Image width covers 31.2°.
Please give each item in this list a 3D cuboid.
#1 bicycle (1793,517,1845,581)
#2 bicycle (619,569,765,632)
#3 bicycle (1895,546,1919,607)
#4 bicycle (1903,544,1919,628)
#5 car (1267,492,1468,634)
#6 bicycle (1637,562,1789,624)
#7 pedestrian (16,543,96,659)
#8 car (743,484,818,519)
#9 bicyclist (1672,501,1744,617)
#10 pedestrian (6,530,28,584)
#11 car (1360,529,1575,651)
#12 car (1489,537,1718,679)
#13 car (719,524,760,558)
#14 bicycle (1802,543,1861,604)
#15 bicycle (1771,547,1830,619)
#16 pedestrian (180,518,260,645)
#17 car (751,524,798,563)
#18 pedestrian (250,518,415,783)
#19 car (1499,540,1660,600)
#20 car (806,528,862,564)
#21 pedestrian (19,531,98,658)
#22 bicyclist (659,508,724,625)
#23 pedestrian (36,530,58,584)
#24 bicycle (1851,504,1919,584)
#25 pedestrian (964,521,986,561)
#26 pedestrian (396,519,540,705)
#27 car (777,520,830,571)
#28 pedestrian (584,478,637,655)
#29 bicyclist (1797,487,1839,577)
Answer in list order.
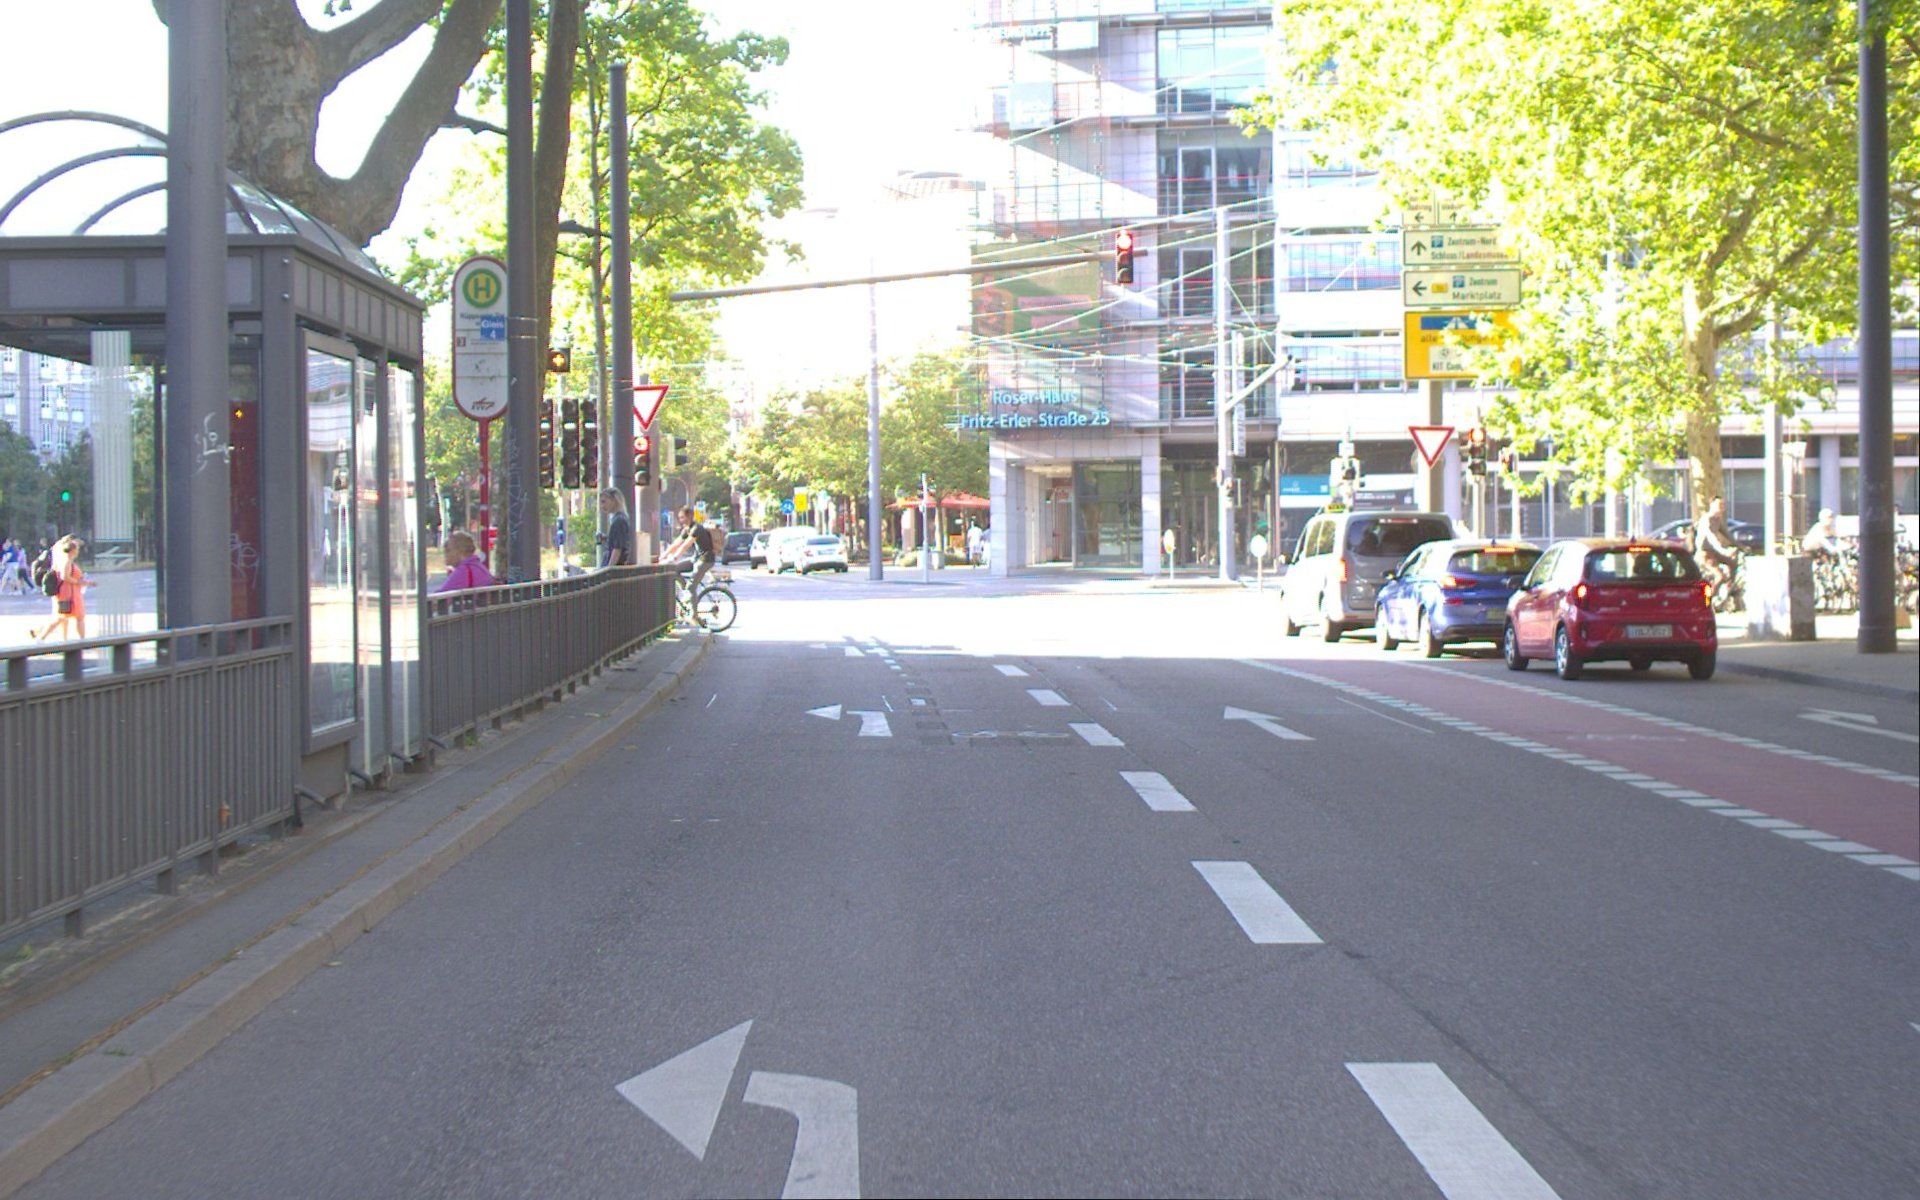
[{"bbox_3d":[15.487,-0.927,62.006,0.566,1.122,1.778,-1,1,3],"label":"bicycle"},{"bbox_3d":[-4.161,0.003,53.357,2.176,0.930,0.668,-1,1,-15],"label":"bicycle"},{"bbox_3d":[15.789,-0.387,56.235,0.450,0.979,1.477,-1,1,-5],"label":"bicycle"},{"bbox_3d":[12.449,-0.176,43.525,0.627,1.053,1.572,-1,1,2],"label":"bicycle"},{"bbox_3d":[5.931,-0.571,50.629,1.993,1.959,5.138,1,1,-4],"label":"car"},{"bbox_3d":[11.552,-0.114,52.788,2.181,0.930,0.667,0,1,31],"label":"bicycle"},{"bbox_3d":[-13.213,0.013,50.246,1.072,1.676,0.758,0,1,-11],"label":"pedestrian"},{"bbox_3d":[-9.827,-5.384,188.224,3.763,1.744,1.780,1,-3,11],"label":"car"},{"bbox_3d":[11.488,-0.630,52.804,0.851,1.761,0.751,0,1,32],"label":"bicyclist"},{"bbox_3d":[-29.018,-1.335,105.823,0.536,1.644,0.626,-2,1,-23],"label":"pedestrian"},{"bbox_3d":[6.440,-0.165,44.039,1.764,1.459,4.218,-1,1,-5],"label":"car"},{"bbox_3d":[6.944,0.052,37.401,1.558,1.459,3.622,0,1,-4],"label":"car"},{"bbox_3d":[-11.235,-3.003,174.848,1.993,1.656,4.001,-1,1,-4],"label":"car"},{"bbox_3d":[14.290,-0.440,56.396,0.450,0.979,1.477,-1,1,-5],"label":"bicycle"},{"bbox_3d":[13.643,-0.278,55.824,0.450,1.140,1.477,-1,1,-5],"label":"bicycle"},{"bbox_3d":[-11.110,-0.274,51.643,1.145,1.887,0.833,0,1,-11],"label":"pedestrian"},{"bbox_3d":[-8.286,-2.523,153.054,1.993,1.656,4.001,-1,1,-4],"label":"car"},{"bbox_3d":[-3.347,0.262,18.375,0.734,1.383,0.640,1,0,1],"label":"pedestrian"},{"bbox_3d":[17.448,-0.843,96.985,4.241,1.596,1.795,-1,1,3],"label":"car"},{"bbox_3d":[-4.837,-2.066,131.317,1.993,1.327,4.001,-1,1,-4],"label":"car"},{"bbox_3d":[-13.368,-0.086,50.984,1.073,1.865,0.739,0,0,-11],"label":"pedestrian"},{"bbox_3d":[-4.169,-0.523,53.290,0.849,1.779,0.753,-1,1,-14],"label":"bicyclist"},{"bbox_3d":[-28.212,-1.332,106.181,0.536,1.644,0.626,-2,1,-23],"label":"pedestrian"},{"bbox_3d":[15.146,-0.927,56.262,0.450,1.282,1.888,-1,1,-5],"label":"bicycle"},{"bbox_3d":[0.542,-2.169,125.791,0.739,1.460,0.537,-1,1,-5],"label":"pedestrian"},{"bbox_3d":[-3.772,0.091,26.400,0.977,1.395,0.664,1,0,1],"label":"pedestrian"},{"bbox_3d":[-6.304,-2.204,138.073,1.993,1.985,4.001,-1,1,-4],"label":"car"},{"bbox_3d":[-3.788,-0.365,37.308,0.509,1.893,0.760,1,0,-3],"label":"pedestrian"},{"bbox_3d":[15.485,-1.223,62.039,0.562,1.611,0.821,-1,1,3],"label":"bicyclist"}]
